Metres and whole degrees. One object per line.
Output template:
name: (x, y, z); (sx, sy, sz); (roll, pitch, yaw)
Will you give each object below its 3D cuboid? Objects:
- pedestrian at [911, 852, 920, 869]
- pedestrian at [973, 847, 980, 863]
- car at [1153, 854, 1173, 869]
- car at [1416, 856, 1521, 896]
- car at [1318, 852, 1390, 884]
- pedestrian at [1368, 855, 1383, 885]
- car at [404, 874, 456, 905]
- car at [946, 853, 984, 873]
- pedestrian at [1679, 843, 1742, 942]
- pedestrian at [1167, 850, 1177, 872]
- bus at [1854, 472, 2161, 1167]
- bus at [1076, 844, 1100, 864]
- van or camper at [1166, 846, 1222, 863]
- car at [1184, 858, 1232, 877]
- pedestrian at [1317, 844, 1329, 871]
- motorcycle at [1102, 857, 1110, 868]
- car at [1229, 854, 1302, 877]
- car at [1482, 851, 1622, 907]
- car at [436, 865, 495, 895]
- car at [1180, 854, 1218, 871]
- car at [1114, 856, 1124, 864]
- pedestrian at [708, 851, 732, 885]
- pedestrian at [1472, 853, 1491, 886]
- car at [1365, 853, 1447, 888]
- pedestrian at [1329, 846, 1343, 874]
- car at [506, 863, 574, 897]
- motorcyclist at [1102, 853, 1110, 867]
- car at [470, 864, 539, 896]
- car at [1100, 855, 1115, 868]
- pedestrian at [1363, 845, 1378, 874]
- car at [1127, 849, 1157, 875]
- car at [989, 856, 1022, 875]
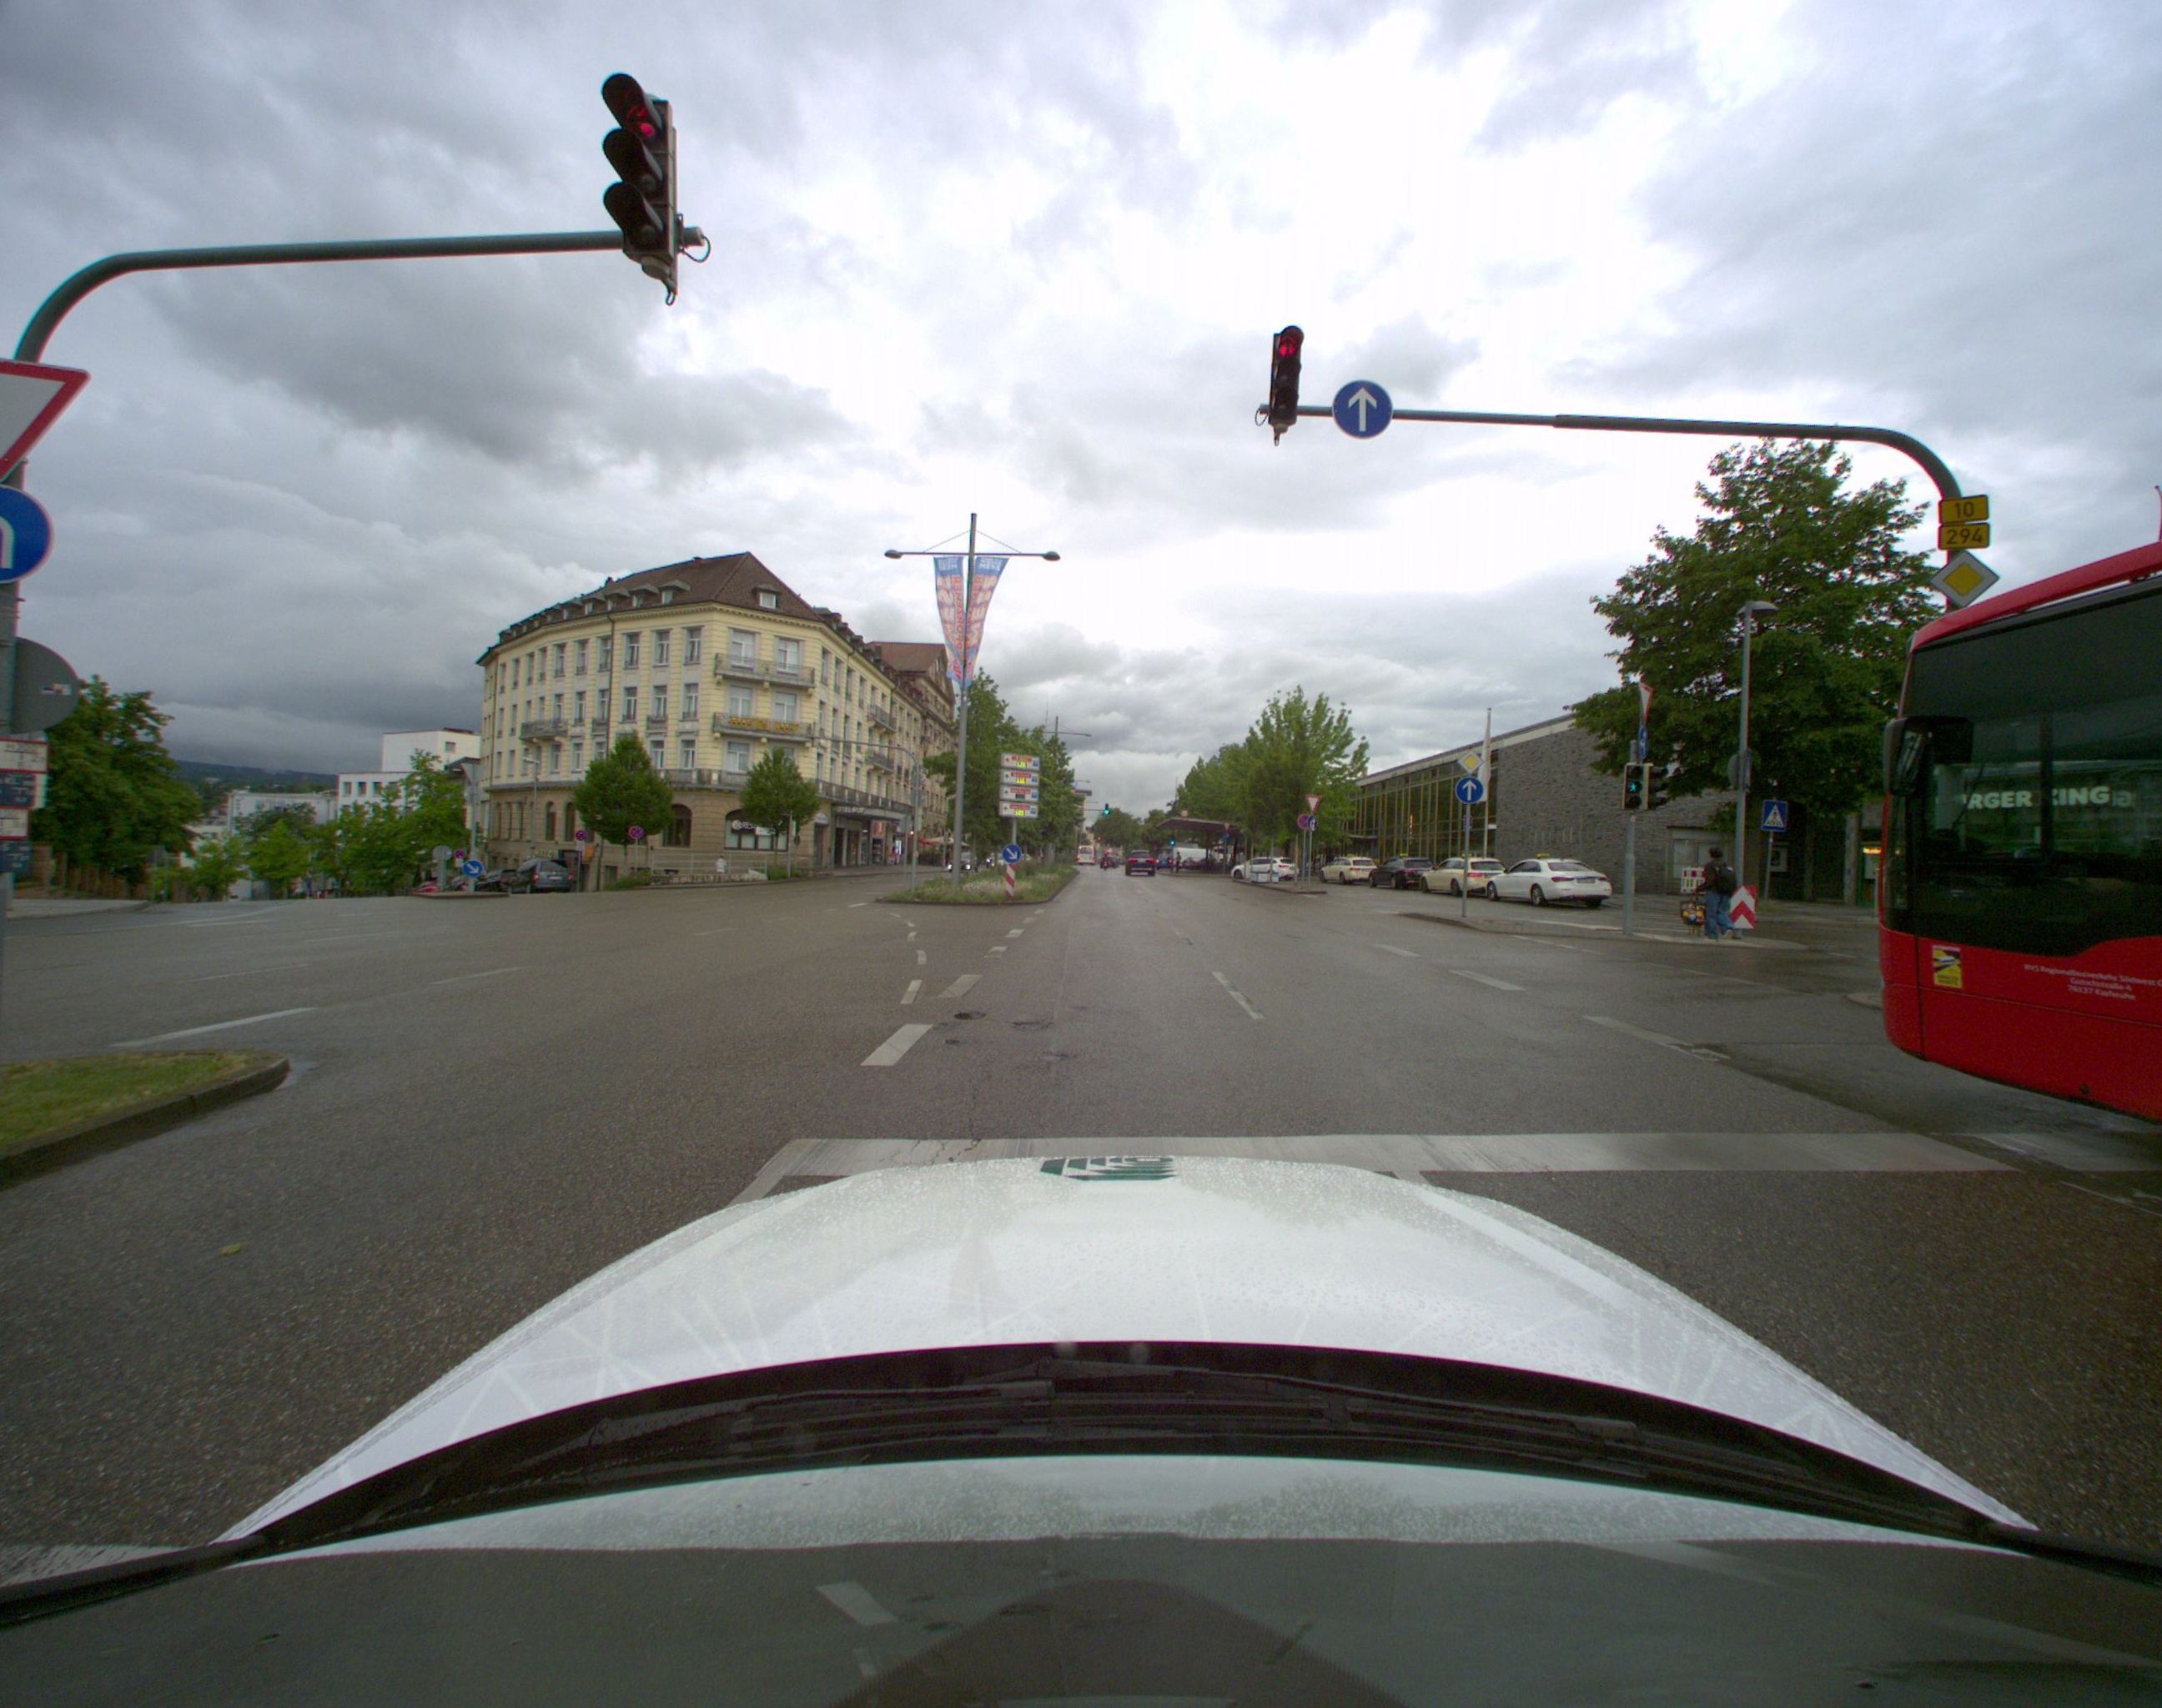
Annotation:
pedestrian: (-15.303, 0.598, 75.319); (0.666, 1.510, 0.513); (0, -1, -36)
pedestrian: (-10.919, 0.106, 85.044); (0.672, 1.701, 0.634); (0, -1, 1)
car: (8.561, 0.755, 85.383); (1.809, 1.530, 4.001); (0, 0, 2)
car: (14.786, 0.787, 31.382); (1.840, 1.452, 4.666); (0, 0, 0)
car: (14.682, 0.713, 44.103); (1.990, 1.600, 4.814); (0, 0, -5)
pedestrian: (17.127, 0.914, 47.347); (0.563, 1.710, 0.715); (1, 0, -3)
car: (-41.187, 2.207, 51.501); (3.575, 1.812, 1.788); (0, 0, 38)
car: (-9.012, 0.700, 63.507); (1.760, 1.530, 4.089); (0, 0, 9)
pedestrian: (10.951, 0.647, 14.188); (0.800, 1.674, 0.717); (0, 0, 32)
pedestrian: (7.432, 0.596, 66.563); (0.717, 1.791, 0.663); (0, 0, -10)
bus: (6.191, -0.162, 0.124); (2.732, 3.174, 10.198); (0, 0, 2)
bus: (1.058, 0.051, 139.376); (3.750, 3.209, 15.517); (0, 0, -1)
van or camper: (14.287, 0.080, 102.729); (6.787, 2.014, 2.366); (0, -1, -25)
car: (12.823, 1.384, 82.146); (4.348, 1.857, 1.988); (0, 0, -18)
pedestrian: (21.765, 0.327, 73.310); (0.839, 2.411, 0.863); (0, 0, 3)
motorcycle: (2.331, 0.778, 76.474); (0.763, 1.077, 2.176); (0, 0, 2)
car: (11.500, 0.715, 50.963); (1.788, 1.385, 4.318); (0, 0, -39)
car: (14.646, 0.721, 25.663); (1.768, 1.589, 4.615); (0, 0, 0)
car: (-36.312, 1.490, 48.041); (3.864, 1.640, 1.805); (0, 0, 37)
car: (14.026, 0.974, 96.506); (3.998, 2.014, 1.988); (0, 0, -18)
car: (6.726, 1.065, 144.068); (1.702, 1.474, 4.001); (0, 0, 2)
pedestrian: (-20.488, 0.779, 46.213); (0.860, 1.878, 1.023); (0, 0, 1)
pedestrian: (20.183, 0.767, 41.040); (0.563, 1.646, 0.715); (0, 0, -3)
car: (14.884, 0.711, 37.609); (1.907, 1.524, 4.741); (0, 0, 0)
pedestrian: (18.891, 0.443, 60.307); (0.767, 2.014, 0.828); (0, 0, 0)
car: (-27.101, 1.270, 40.778); (3.949, 1.568, 1.812); (0, 0, 41)
motorcyclist: (2.330, 0.540, 76.552); (0.761, 1.331, 0.867); (0, 0, 2)
car: (-31.970, 1.414, 45.119); (3.948, 1.640, 2.013); (-1, -1, 37)
car: (3.011, 0.799, 93.015); (1.702, 1.448, 4.001); (0, 0, 2)
pedestrian: (20.148, 0.399, 56.658); (0.767, 2.014, 0.828); (0, 0, 0)
car: (4.390, 0.560, 58.972); (1.986, 1.806, 4.691); (0, 0, 2)
car: (-5.973, 0.897, 64.980); (1.716, 1.381, 4.866); (0, 0, 5)
